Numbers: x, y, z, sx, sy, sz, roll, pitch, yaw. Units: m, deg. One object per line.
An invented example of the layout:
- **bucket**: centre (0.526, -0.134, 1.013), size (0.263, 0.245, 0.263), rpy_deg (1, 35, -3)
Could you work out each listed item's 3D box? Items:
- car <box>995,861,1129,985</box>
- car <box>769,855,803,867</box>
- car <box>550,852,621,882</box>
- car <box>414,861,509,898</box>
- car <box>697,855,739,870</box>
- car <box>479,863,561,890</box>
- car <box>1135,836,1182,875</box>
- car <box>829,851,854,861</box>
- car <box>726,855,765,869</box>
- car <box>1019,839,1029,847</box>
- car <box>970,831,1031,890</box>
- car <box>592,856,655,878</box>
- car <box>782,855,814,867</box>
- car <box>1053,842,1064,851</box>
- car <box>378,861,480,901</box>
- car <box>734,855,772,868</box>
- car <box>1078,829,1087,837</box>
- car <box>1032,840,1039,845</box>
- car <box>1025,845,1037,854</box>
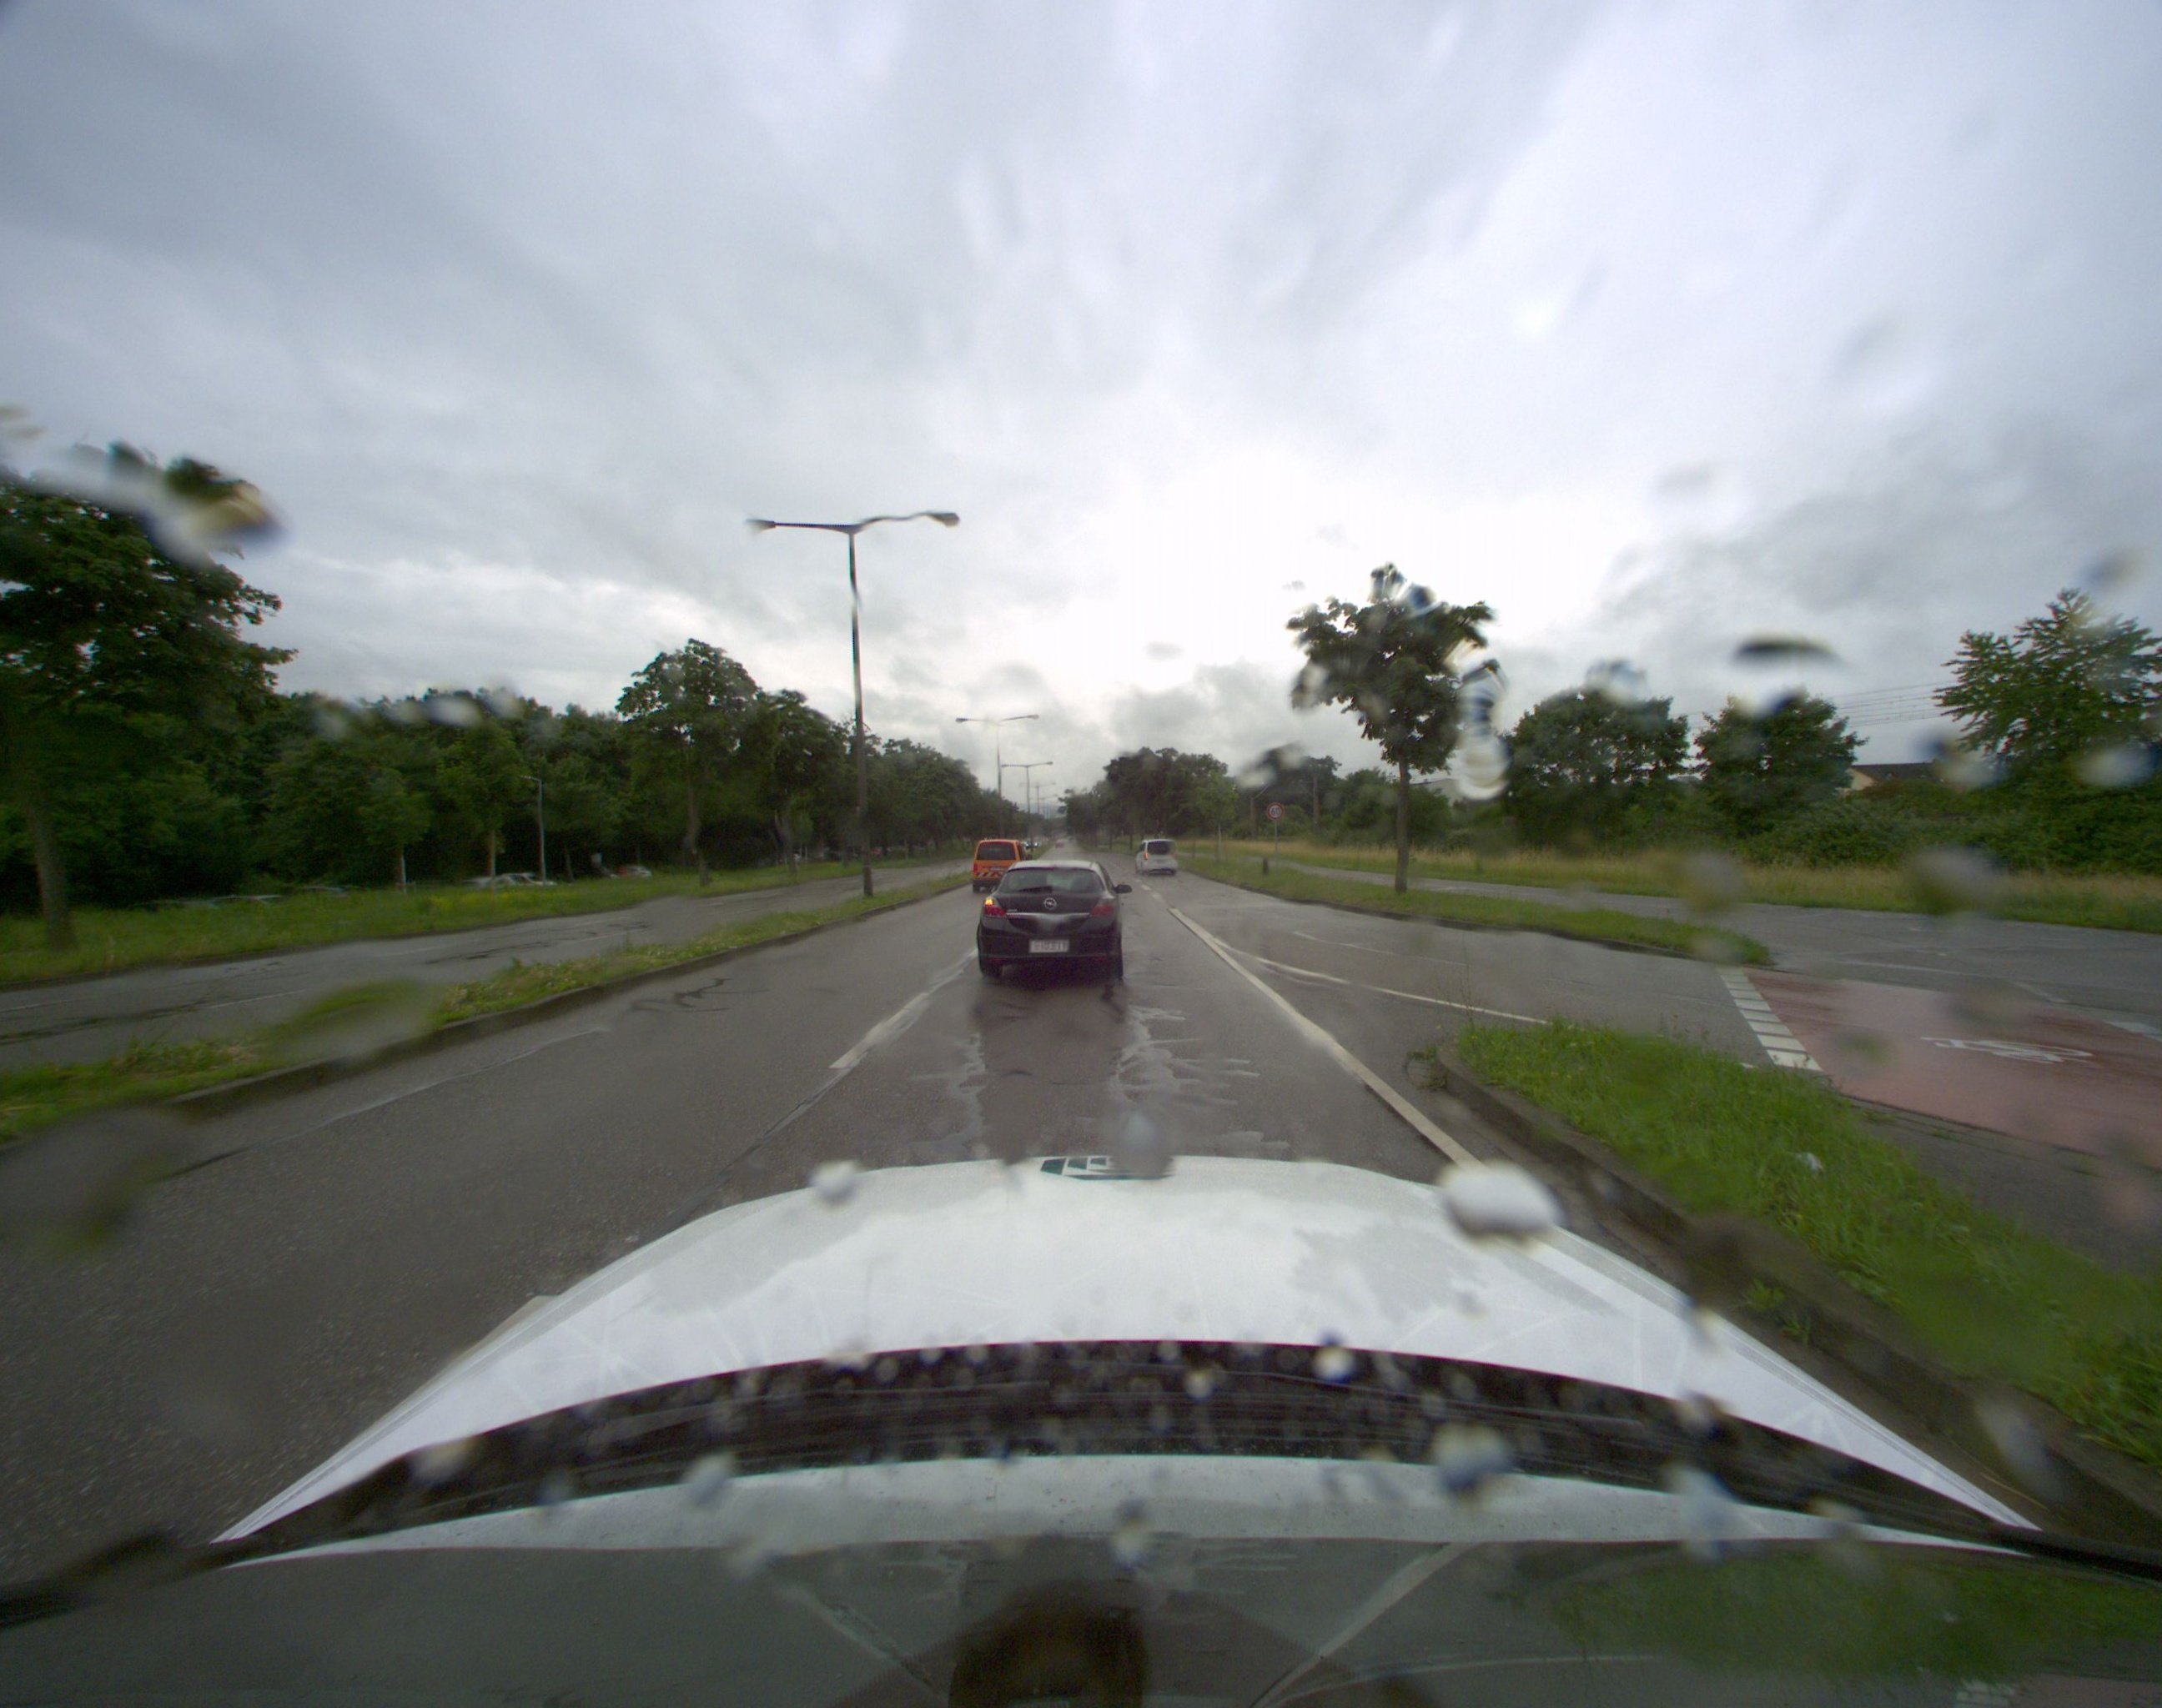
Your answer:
- **car**: centre (-0.114, 0.776, 10.864), size (1.457, 1.329, 3.760), rpy_deg (-1, 0, 3)
- **car**: centre (-38.803, 0.879, 107.051), size (3.829, 1.452, 1.522), rpy_deg (-2, 1, -5)
- **car**: centre (-37.312, 0.953, 61.396), size (3.980, 2.013, 1.997), rpy_deg (-2, 1, -5)
- **car**: centre (-37.311, 1.502, 49.151), size (3.980, 2.013, 1.997), rpy_deg (-2, 1, -5)
- **car**: centre (-38.497, 0.937, 86.520), size (3.728, 1.426, 1.486), rpy_deg (-2, 1, -5)
- **car**: centre (-37.208, 1.480, 54.103), size (3.980, 1.618, 1.997), rpy_deg (-2, 1, -5)
- **car**: centre (4.122, 0.083, 43.961), size (2.052, 1.974, 4.608), rpy_deg (-1, 0, 0)
- **car**: centre (-38.727, 0.274, 131.701), size (3.842, 1.452, 1.517), rpy_deg (-2, 1, -15)
- **car**: centre (-38.788, 0.871, 94.155), size (3.829, 1.452, 1.522), rpy_deg (-2, 1, -5)
- **car**: centre (-12.253, -2.440, 176.087), size (1.714, 1.529, 3.810), rpy_deg (-2, 2, 1)
- **car**: centre (-2.893, 0.197, 30.305), size (1.729, 2.018, 4.849), rpy_deg (-1, 1, 0)
- **car**: centre (-37.254, 1.037, 66.403), size (3.980, 1.640, 1.909), rpy_deg (-2, 1, -5)
- **car**: centre (-38.914, 0.913, 111.988), size (3.829, 1.452, 1.522), rpy_deg (-2, 1, -5)
- **car**: centre (-4.664, -1.622, 171.628), size (1.985, 1.879, 4.003), rpy_deg (-1, 0, 3)
- **car**: centre (-37.143, 1.525, 46.493), size (3.980, 2.013, 1.997), rpy_deg (-2, 1, -5)
- **car**: centre (-38.986, 0.876, 96.830), size (3.829, 1.452, 1.522), rpy_deg (-2, 1, -5)
- **car**: centre (0.484, -6.291, 244.633), size (2.508, 2.052, 5.292), rpy_deg (1, 1, 0)
- **car**: centre (-13.956, -3.521, 249.056), size (1.714, 1.529, 3.810), rpy_deg (-2, 2, 1)
- **car**: centre (-8.621, -0.867, 140.706), size (1.821, 1.450, 3.809), rpy_deg (-2, 1, 1)
